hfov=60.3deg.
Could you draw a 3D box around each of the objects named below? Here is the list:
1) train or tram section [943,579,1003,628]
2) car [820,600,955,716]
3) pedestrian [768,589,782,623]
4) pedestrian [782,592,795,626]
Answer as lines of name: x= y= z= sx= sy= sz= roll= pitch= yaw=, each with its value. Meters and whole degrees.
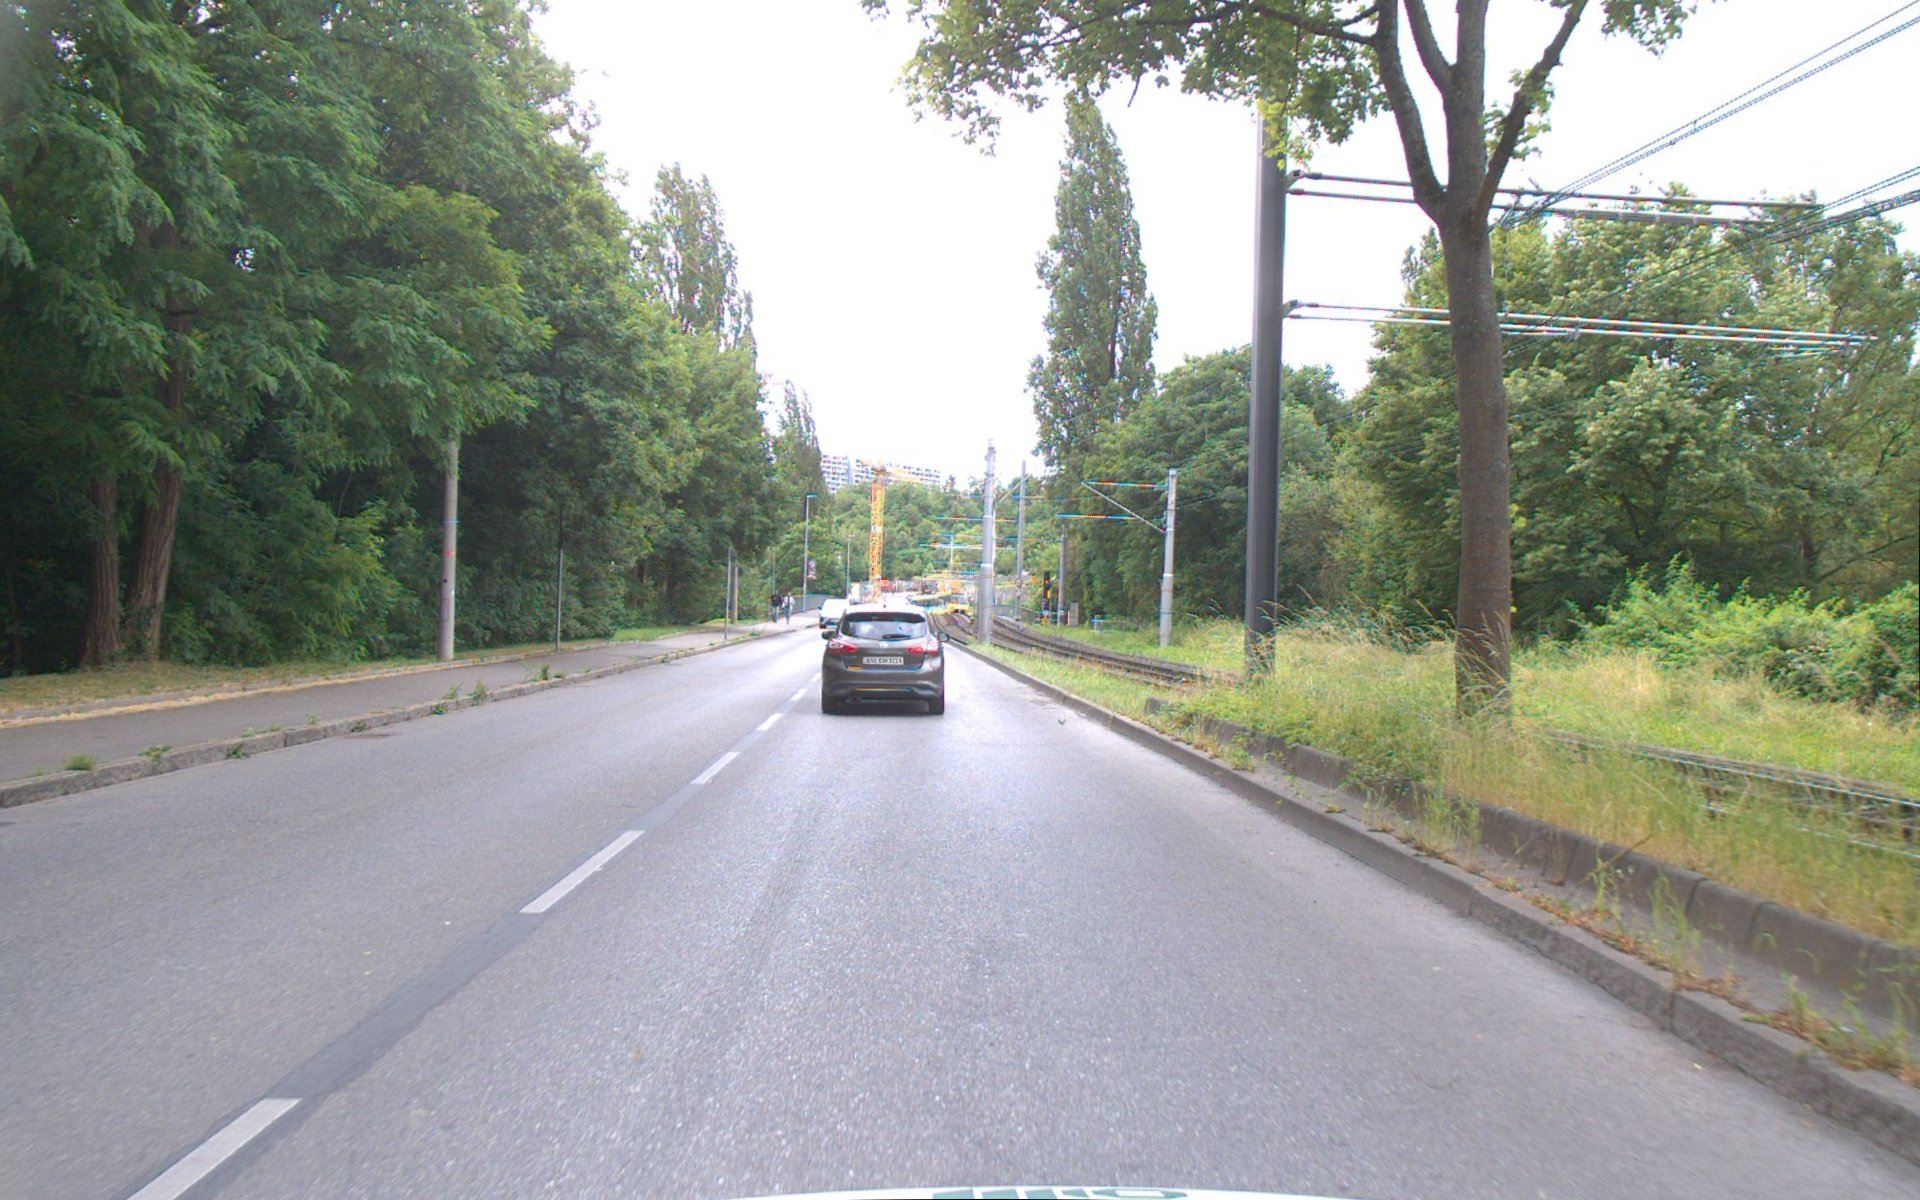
train or tram section: x=1.446 y=0.587 z=207.830 sx=2.974 sy=5.273 sz=22.991 roll=3 pitch=-2 yaw=-11
car: x=-1.137 y=0.798 z=24.430 sx=1.794 sy=1.536 sz=3.996 roll=1 pitch=0 yaw=-5
pedestrian: x=-10.056 y=0.329 z=89.887 sx=0.575 sy=1.834 sz=0.822 roll=3 pitch=0 yaw=-3
pedestrian: x=-9.376 y=0.500 z=90.397 sx=0.540 sy=1.795 sz=0.858 roll=5 pitch=-1 yaw=-3
